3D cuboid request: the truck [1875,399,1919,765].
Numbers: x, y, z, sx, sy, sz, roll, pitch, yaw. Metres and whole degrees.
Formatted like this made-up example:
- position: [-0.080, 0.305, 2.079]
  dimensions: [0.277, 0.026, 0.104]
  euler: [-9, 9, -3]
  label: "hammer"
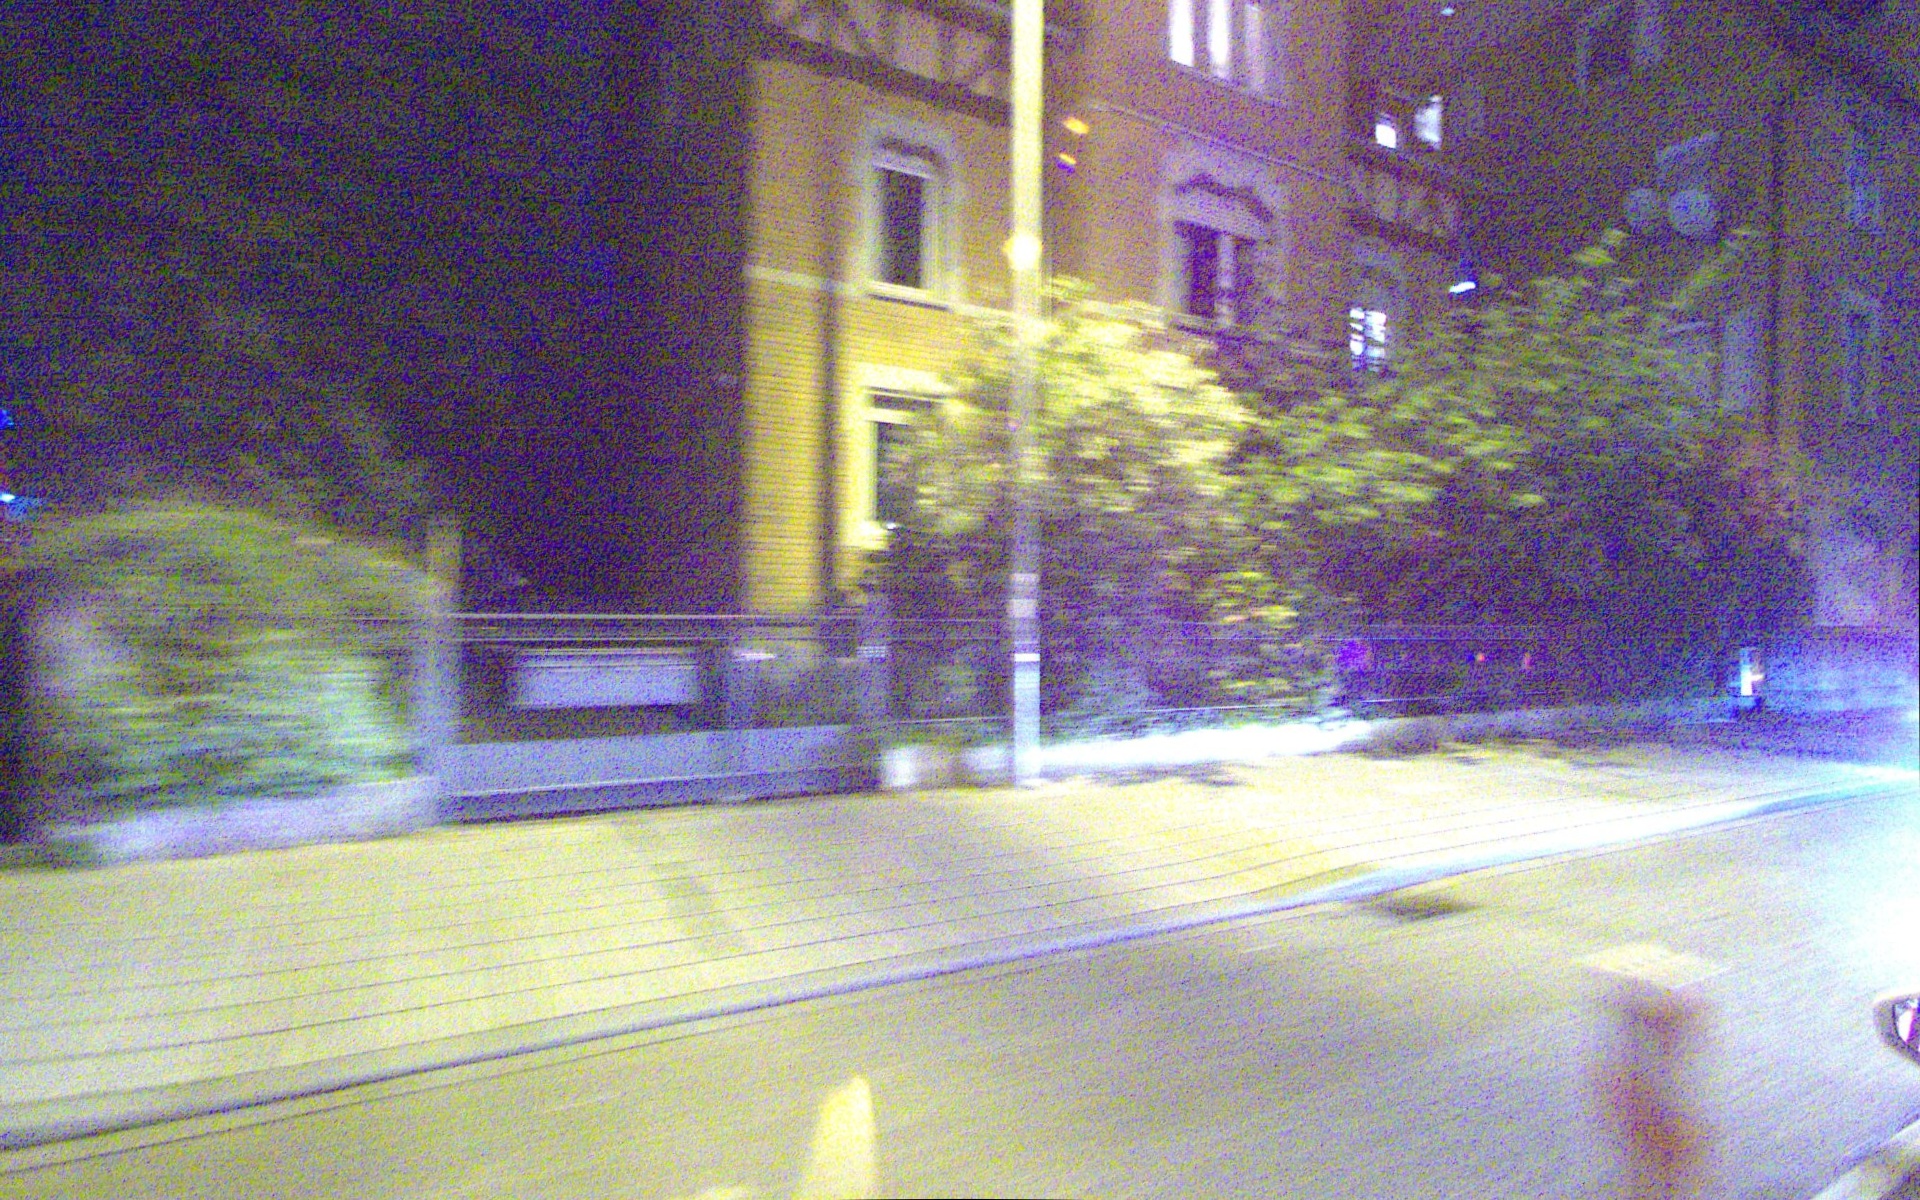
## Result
- position: [14.824, -0.152, 11.525]
  dimensions: [9.975, 3.767, 2.748]
  euler: [1, -2, -25]
  label: "truck"
